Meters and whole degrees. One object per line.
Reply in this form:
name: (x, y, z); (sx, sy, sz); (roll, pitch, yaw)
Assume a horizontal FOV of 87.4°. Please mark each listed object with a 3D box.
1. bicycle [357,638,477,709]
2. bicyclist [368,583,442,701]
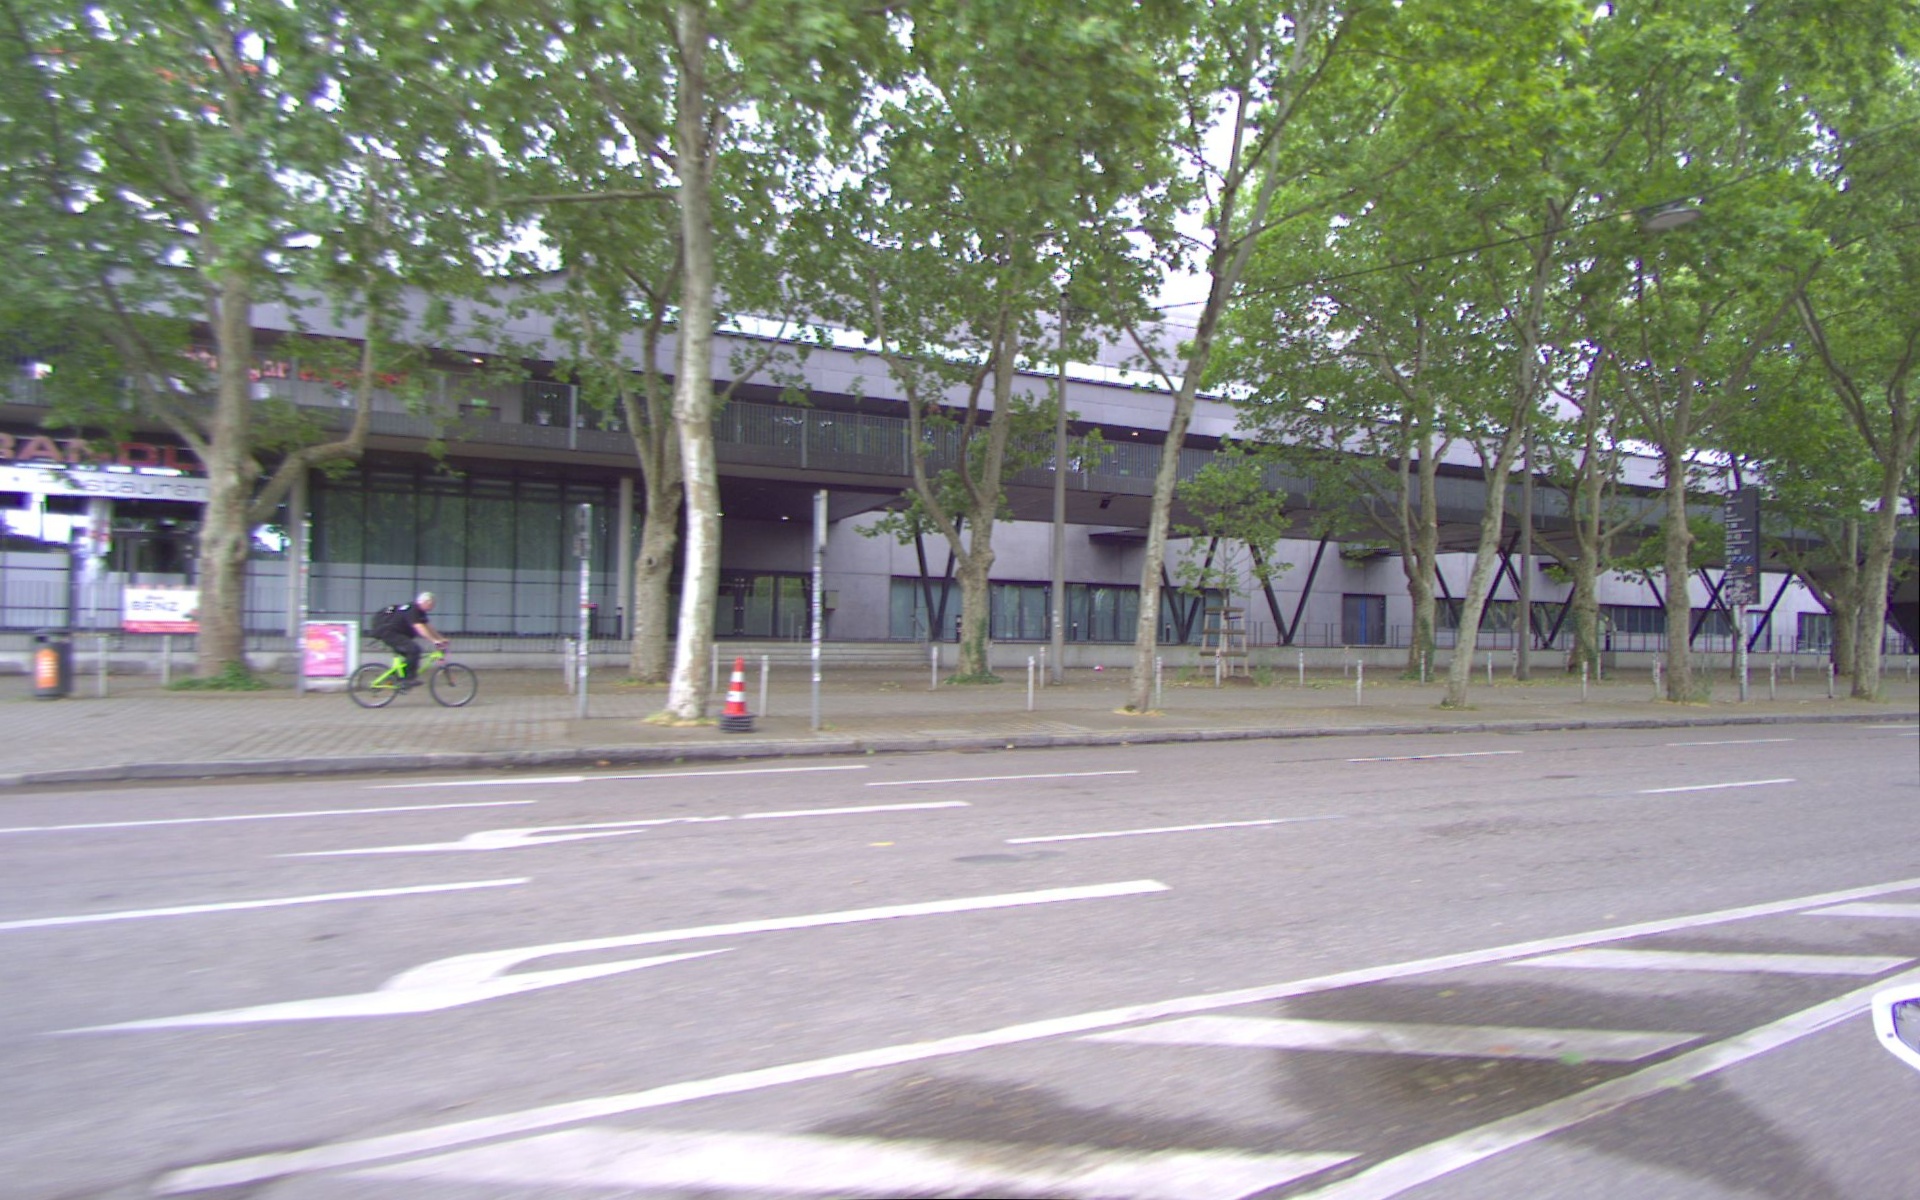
bicycle: (-8.212, 1.120, 15.258); (1.517, 1.026, 0.514); (3, -3, -26)
bicyclist: (-8.379, 0.645, 15.199); (0.843, 1.719, 0.762); (3, -3, -25)
